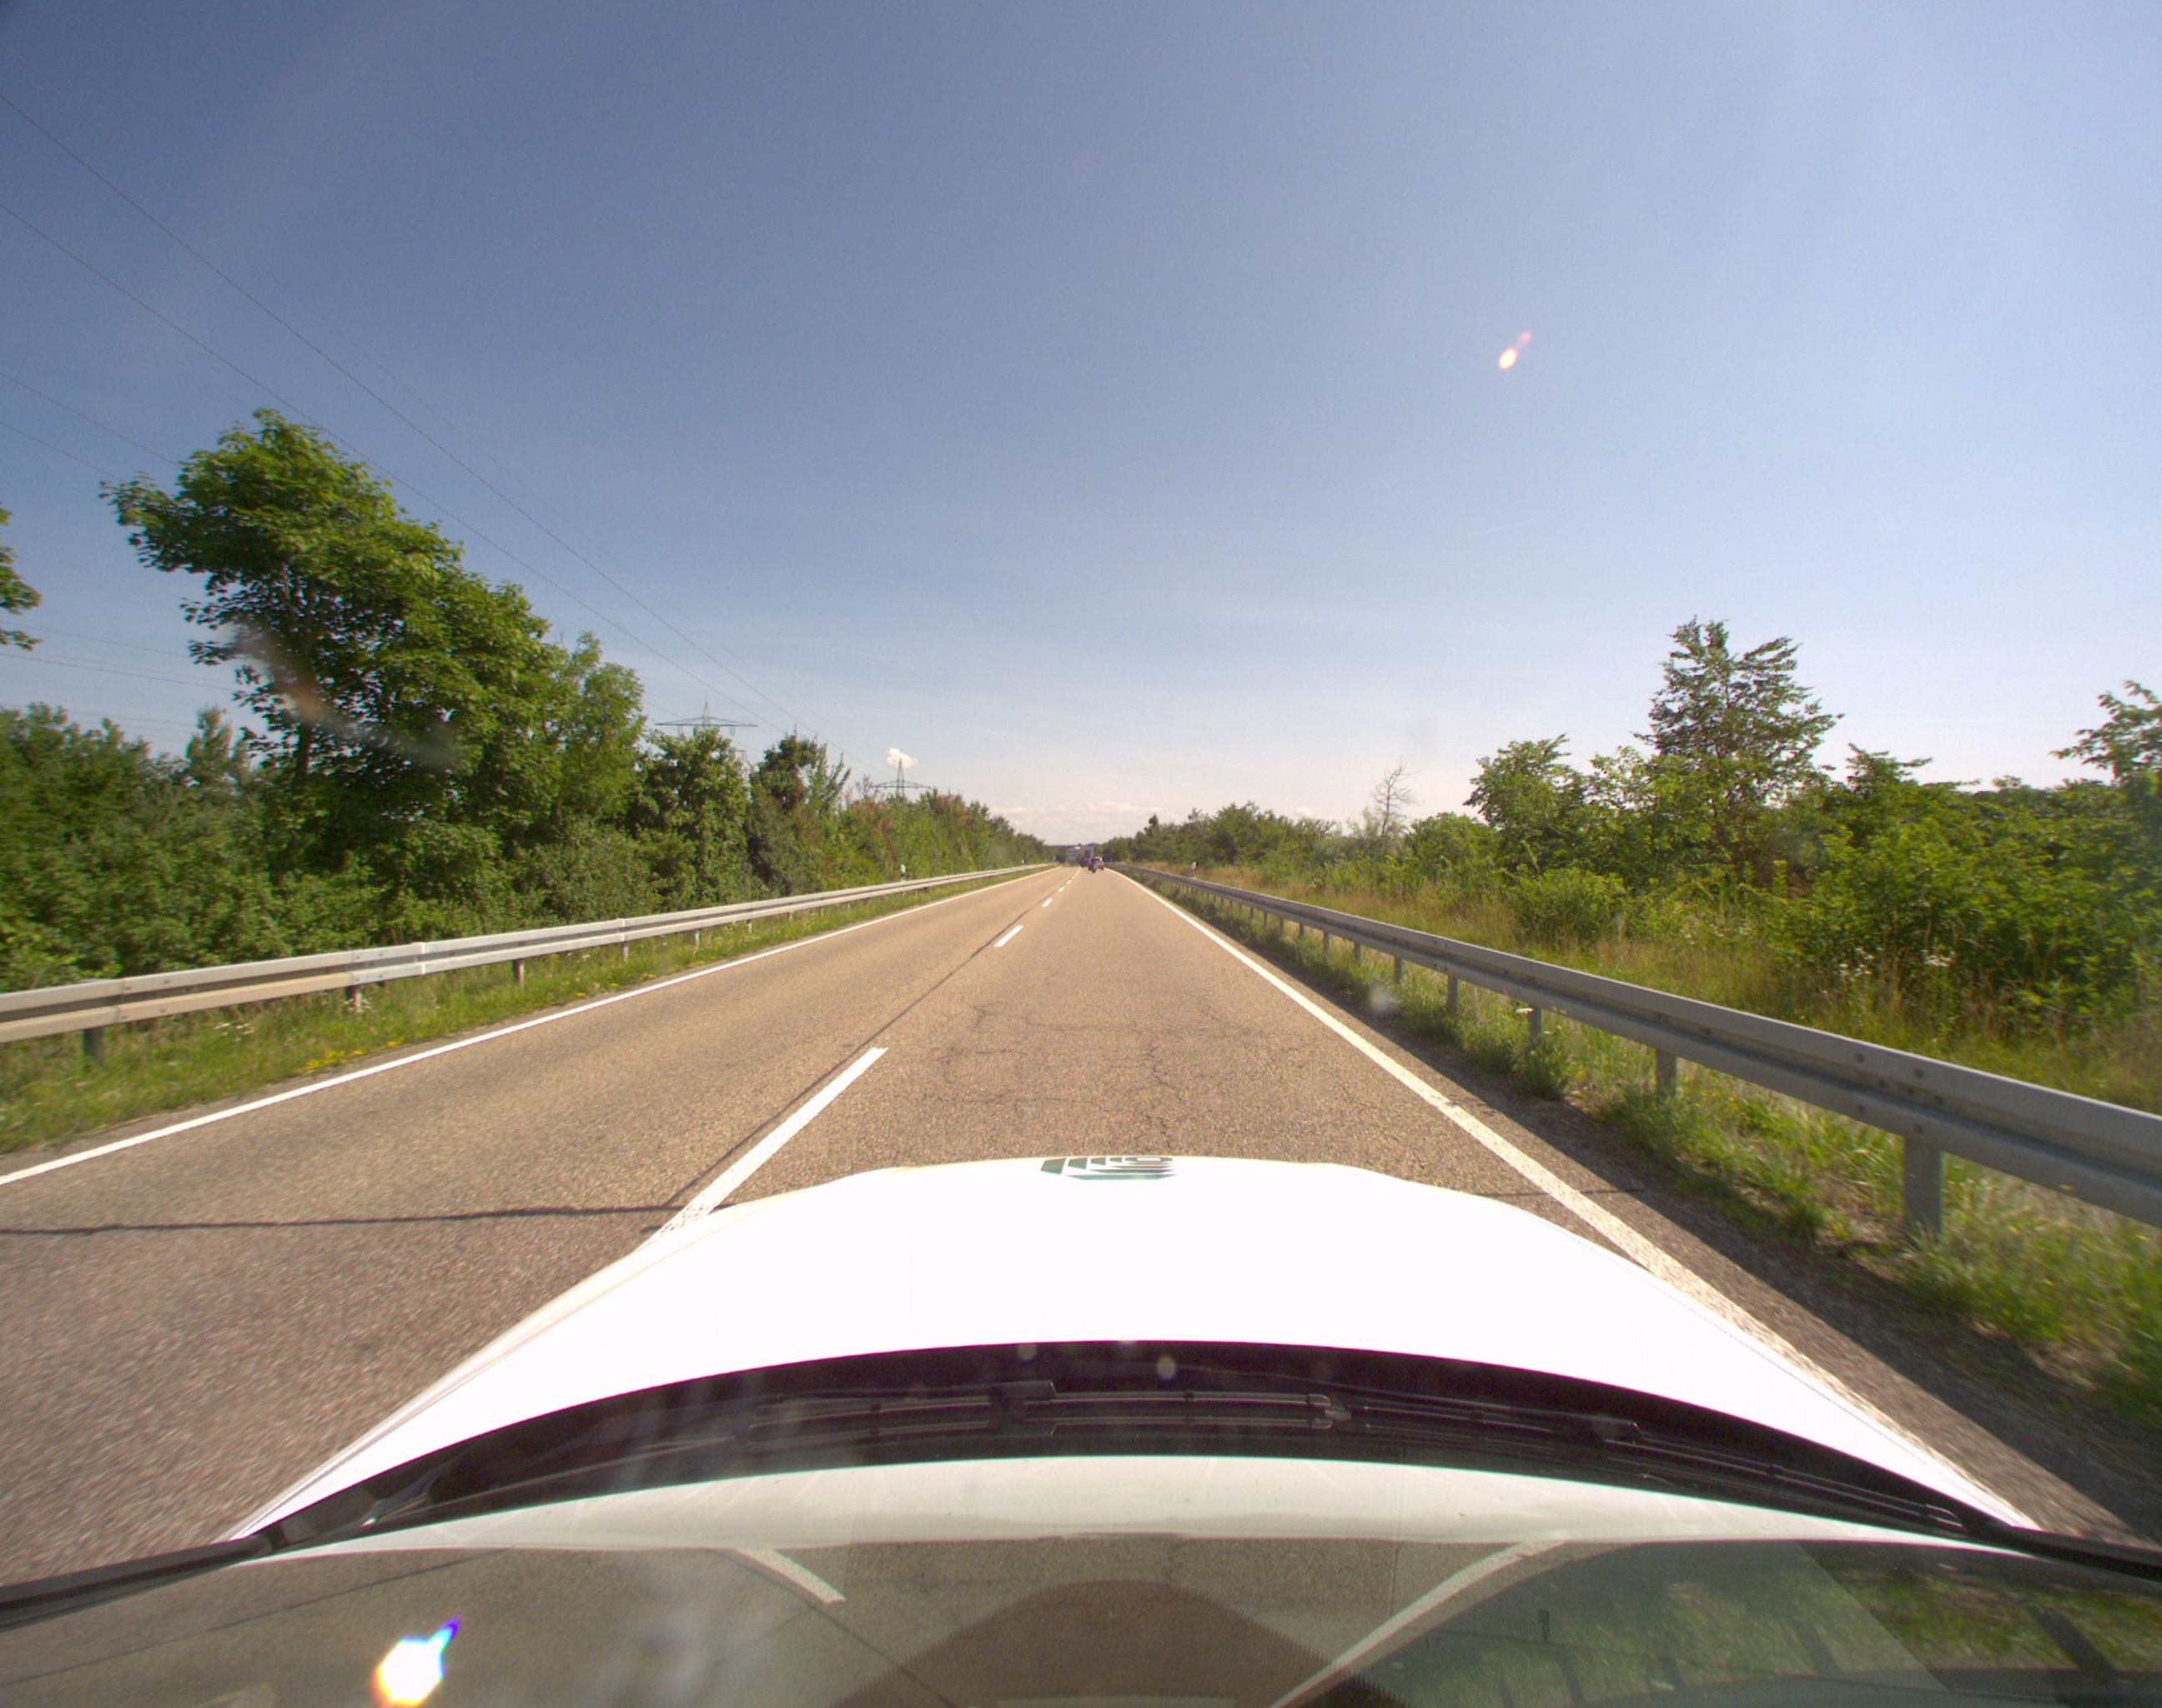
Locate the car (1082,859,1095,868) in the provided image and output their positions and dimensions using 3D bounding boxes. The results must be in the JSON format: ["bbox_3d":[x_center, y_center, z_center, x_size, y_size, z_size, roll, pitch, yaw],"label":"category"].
[{"bbox_3d":[1.228,1.475,130.640,1.858,1.420,4.004,0,1,3],"label":"car"}]

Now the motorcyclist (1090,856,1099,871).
[{"bbox_3d":[1.304,0.909,77.305,0.777,1.325,0.814,-1,0,3],"label":"motorcyclist"}]

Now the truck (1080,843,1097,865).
[{"bbox_3d":[1.380,0.023,157.710,3.231,3.978,9.441,-1,0,0],"label":"truck"}]

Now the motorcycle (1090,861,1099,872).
[{"bbox_3d":[1.297,1.214,77.288,0.777,0.975,2.364,-1,1,4],"label":"motorcycle"}]

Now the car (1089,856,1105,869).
[{"bbox_3d":[1.897,1.006,98.144,1.820,1.451,3.999,-1,1,0],"label":"car"}]
